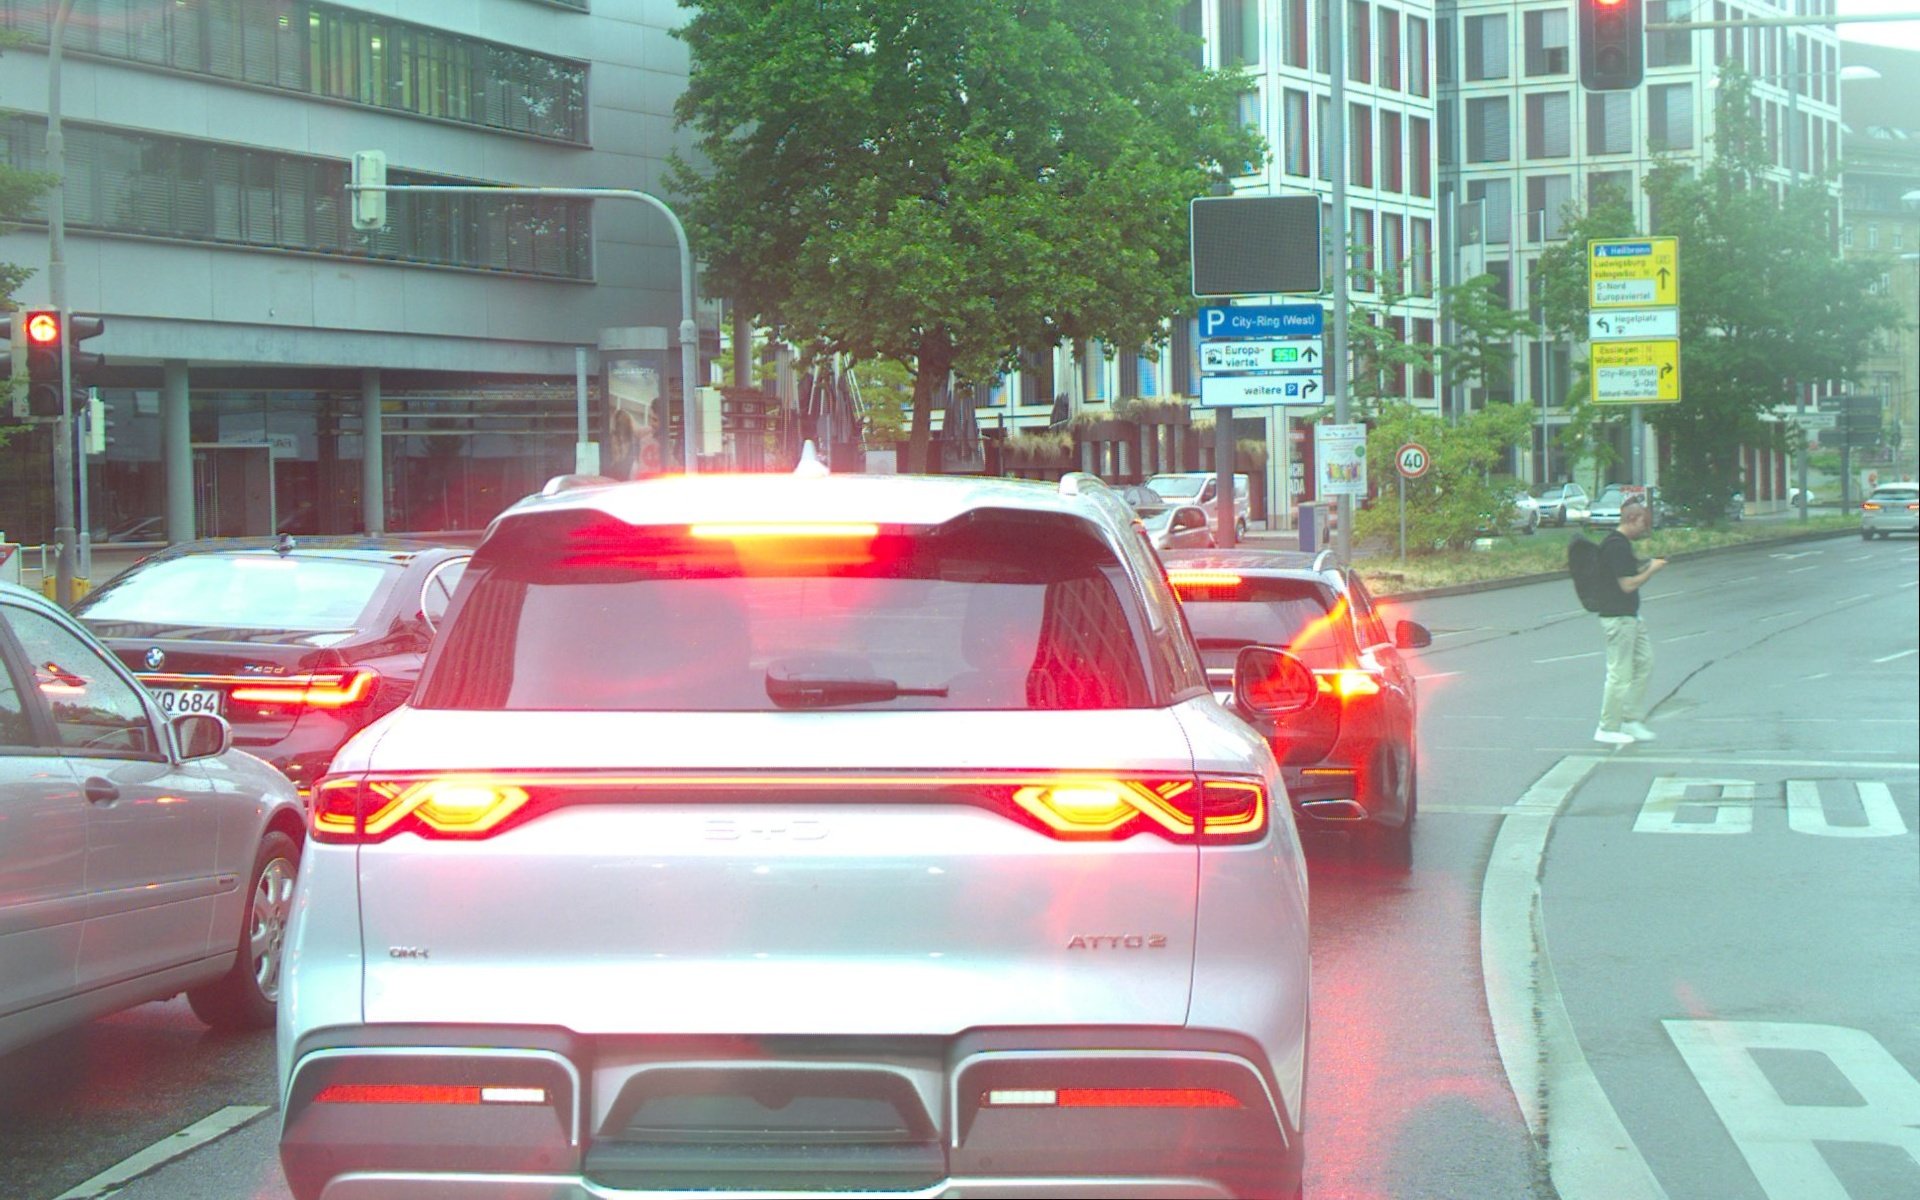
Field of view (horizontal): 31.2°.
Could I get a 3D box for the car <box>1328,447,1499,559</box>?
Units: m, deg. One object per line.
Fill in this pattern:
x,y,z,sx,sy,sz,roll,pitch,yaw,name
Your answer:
8.641,-1.807,65.163,1.996,2.007,4.843,1,1,23,car

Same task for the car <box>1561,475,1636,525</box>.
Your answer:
20.541,-3.205,110.530,1.645,1.575,4.081,1,1,21,car

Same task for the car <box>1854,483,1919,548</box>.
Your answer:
24.254,-2.180,88.438,1.890,1.637,3.996,1,1,22,car

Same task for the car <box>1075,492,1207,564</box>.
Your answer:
3.725,-1.455,70.197,1.692,1.380,3.865,1,1,19,car

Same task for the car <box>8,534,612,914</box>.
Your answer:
-2.789,0.468,15.626,1.571,1.481,3.999,1,1,7,car

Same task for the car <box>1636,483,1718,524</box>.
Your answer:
26.605,-3.588,127.457,1.996,1.483,3.994,0,2,27,car

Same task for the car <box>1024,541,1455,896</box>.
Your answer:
1.466,0.482,16.628,1.694,1.481,3.998,1,1,10,car

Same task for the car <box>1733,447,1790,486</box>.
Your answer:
38.153,-6.353,163.584,1.609,1.735,3.439,1,1,32,car

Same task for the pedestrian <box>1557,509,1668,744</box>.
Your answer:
4.862,0.185,25.597,0.770,1.725,0.596,0,1,14,pedestrian

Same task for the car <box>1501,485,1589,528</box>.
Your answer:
20.964,-3.366,123.105,1.996,1.483,3.994,0,2,27,car

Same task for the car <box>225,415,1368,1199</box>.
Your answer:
-0.210,0.538,7.374,1.776,1.673,4.000,1,1,2,car

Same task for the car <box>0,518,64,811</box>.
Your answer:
-5.883,0.327,16.266,1.707,1.481,3.998,1,1,9,car

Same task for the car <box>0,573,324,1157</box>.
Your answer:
-3.045,0.637,8.858,1.571,1.402,4.108,1,1,7,car

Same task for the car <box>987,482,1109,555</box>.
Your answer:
1.926,-1.743,73.678,1.645,1.530,4.149,1,1,16,car

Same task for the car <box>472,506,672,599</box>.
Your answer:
-6.934,-0.871,61.851,1.995,1.605,3.996,1,1,20,car
